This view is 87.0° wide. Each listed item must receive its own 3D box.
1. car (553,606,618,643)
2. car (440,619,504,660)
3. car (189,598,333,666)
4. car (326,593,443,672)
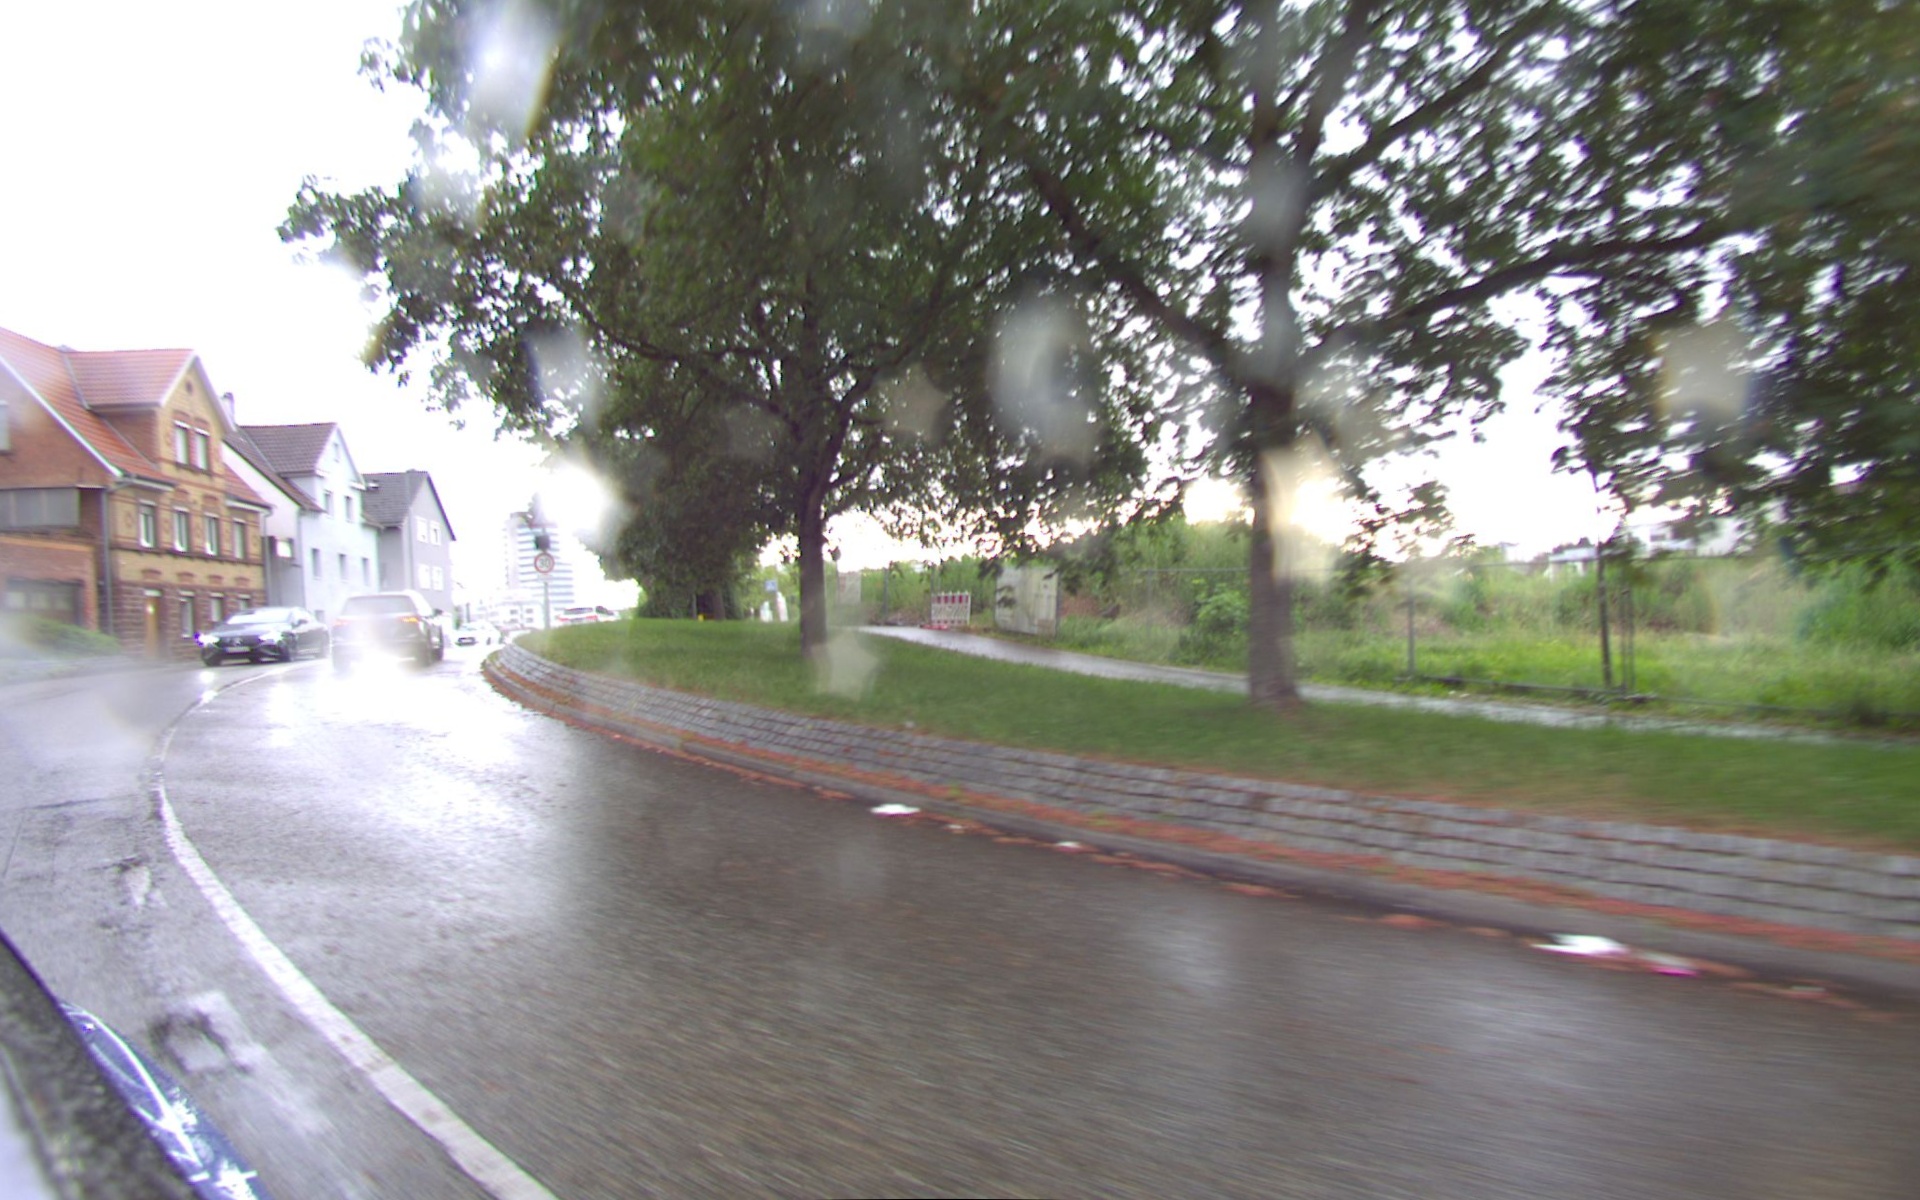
[{"bbox_3d":[-16.856,1.069,45.780,1.702,1.516,4.264,-3,0,-6],"label":"car"},{"bbox_3d":[-24.957,2.059,51.919,1.870,1.671,4.957,-5,-4,-14],"label":"car"},{"bbox_3d":[-18.744,0.919,27.402,1.808,1.525,4.862,-6,-1,-18],"label":"car"},{"bbox_3d":[-12.611,0.667,22.404,1.703,1.555,4.314,0,0,-22],"label":"car"}]
